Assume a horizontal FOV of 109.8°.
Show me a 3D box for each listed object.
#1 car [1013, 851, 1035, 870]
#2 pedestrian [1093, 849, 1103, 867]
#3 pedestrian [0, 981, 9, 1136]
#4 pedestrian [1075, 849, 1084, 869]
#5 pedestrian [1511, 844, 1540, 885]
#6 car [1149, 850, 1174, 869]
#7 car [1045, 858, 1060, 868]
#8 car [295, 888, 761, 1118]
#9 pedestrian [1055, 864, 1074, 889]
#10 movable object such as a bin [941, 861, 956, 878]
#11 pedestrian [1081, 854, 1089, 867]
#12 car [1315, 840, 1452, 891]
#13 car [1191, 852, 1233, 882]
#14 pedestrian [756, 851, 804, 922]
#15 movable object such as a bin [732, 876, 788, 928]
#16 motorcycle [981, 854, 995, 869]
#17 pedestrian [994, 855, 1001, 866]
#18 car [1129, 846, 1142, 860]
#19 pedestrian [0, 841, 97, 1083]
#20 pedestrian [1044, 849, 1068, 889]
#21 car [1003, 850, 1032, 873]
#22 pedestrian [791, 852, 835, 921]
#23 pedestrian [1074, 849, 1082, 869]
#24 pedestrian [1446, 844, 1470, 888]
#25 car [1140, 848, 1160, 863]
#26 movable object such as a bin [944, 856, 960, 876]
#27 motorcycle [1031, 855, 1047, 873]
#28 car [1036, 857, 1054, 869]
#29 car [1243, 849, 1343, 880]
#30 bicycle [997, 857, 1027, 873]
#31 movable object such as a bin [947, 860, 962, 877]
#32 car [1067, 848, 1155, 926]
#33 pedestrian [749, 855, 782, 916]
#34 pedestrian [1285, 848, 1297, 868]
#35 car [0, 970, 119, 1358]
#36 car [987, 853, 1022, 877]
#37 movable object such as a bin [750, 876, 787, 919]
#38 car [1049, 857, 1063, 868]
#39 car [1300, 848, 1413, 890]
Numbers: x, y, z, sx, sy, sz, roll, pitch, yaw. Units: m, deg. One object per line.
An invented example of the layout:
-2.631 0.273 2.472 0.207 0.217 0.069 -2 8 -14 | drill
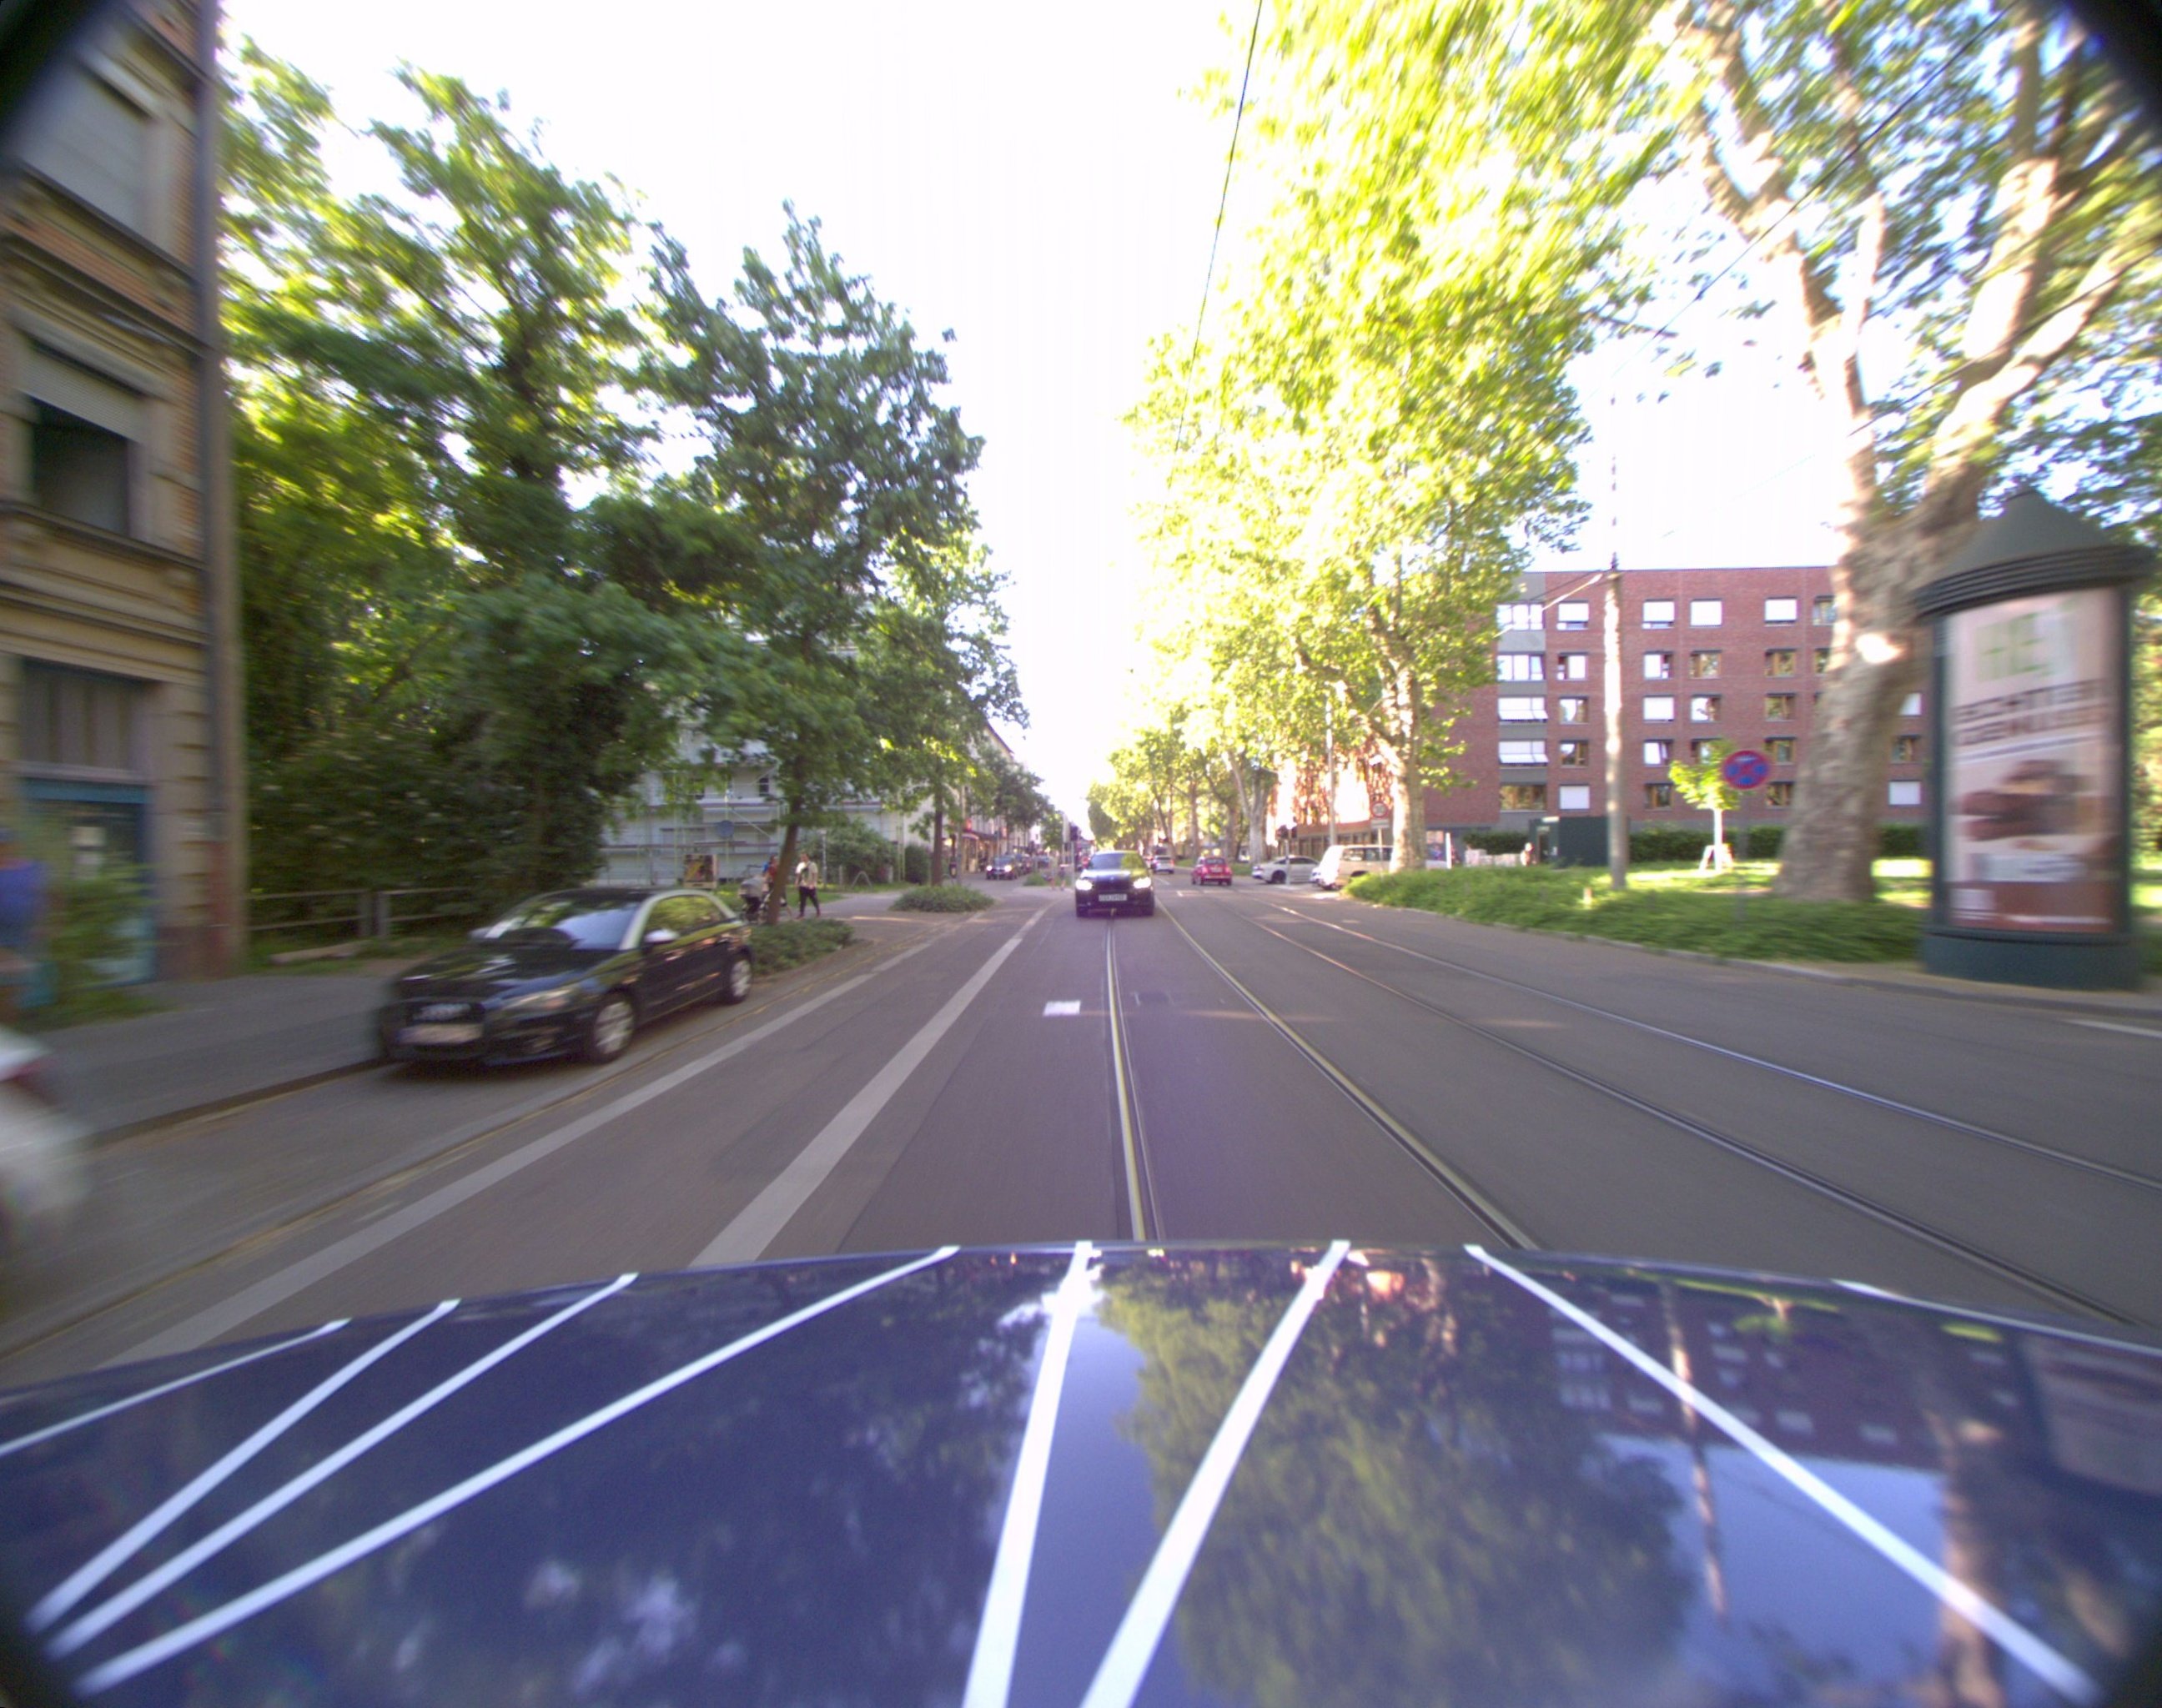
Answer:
-5.332 0.591 71.539 1.693 1.745 4.173 -2 0 0 | car
1.656 0.421 73.163 0.836 1.703 0.640 -2 1 2 | pedestrian
-6.950 0.815 4.436 0.726 1.783 0.601 -1 1 23 | pedestrian
-0.124 0.423 67.558 0.689 1.745 0.580 -2 1 -5 | pedestrian
18.476 0.446 31.571 0.711 1.663 0.779 -2 1 1 | pedestrian
6.825 0.455 64.653 1.820 1.559 4.116 0 1 1 | car
-4.308 1.332 115.857 1.899 1.477 4.000 -2 0 1 | car
-4.737 1.147 7.314 1.677 1.404 3.842 1 1 0 | car
-0.766 1.047 35.435 0.677 1.112 0.658 -2 1 -22 | pedestrian
-8.887 1.018 50.815 0.883 1.104 0.697 1 1 -1 | movable object such as a bin
0.427 0.671 80.038 0.721 1.318 0.493 -2 1 -10 | pedestrian
11.776 0.432 29.803 4.582 1.823 1.938 -2 1 0 | car
6.754 0.637 39.525 1.665 1.435 3.473 -2 0 2 | car
-7.849 0.818 19.835 0.727 1.783 0.969 1 1 12 | pedestrian
-7.914 1.156 18.779 0.640 1.195 1.306 1 1 12 | movable object such as a bin
-8.668 0.755 71.134 0.954 1.309 2.650 4 -1 -1 | motorcycle
-8.781 0.679 80.153 0.680 1.198 0.648 -2 1 -10 | pedestrian
12.150 -0.264 170.043 2.429 2.833 5.072 -2 0 1 | car
-8.277 0.802 5.753 0.600 1.783 0.728 -2 1 -1 | pedestrian
-1.220 0.720 36.492 0.870 1.874 0.996 -2 1 -17 | pedestrian
-5.395 0.646 65.089 1.998 1.885 4.195 0 0 3 | car
-7.057 0.836 20.031 0.727 1.783 0.854 1 1 12 | pedestrian
-0.249 0.422 68.256 0.493 1.760 0.704 -2 1 16 | pedestrian
15.886 0.497 32.024 0.645 1.799 0.752 -2 1 7 | pedestrian
7.145 0.139 78.577 1.779 1.452 4.204 -2 0 2 | car
-9.107 0.815 53.716 1.002 1.389 0.824 1 1 -1 | movable object such as a bin
-3.505 0.815 63.623 1.054 1.446 2.208 -2 1 1 | motorcycle
-4.904 1.168 104.138 1.958 1.474 4.660 -2 0 3 | car
11.275 0.549 40.668 4.776 1.452 1.954 -2 1 0 | car
-5.452 0.858 60.227 2.209 1.203 1.029 1 1 1 | bicycle
-8.556 0.963 51.528 0.883 1.104 0.697 1 1 -1 | movable object such as a bin
0.890 0.751 20.019 1.936 1.718 5.074 -2 0 5 | car
-9.061 0.904 21.855 0.619 1.716 0.554 -2 1 4 | pedestrian
18.251 0.325 66.126 0.765 1.733 0.972 -2 1 1 | pedestrian
-4.926 1.159 1.072 1.888 1.360 4.107 1 1 1 | car
-5.181 0.731 52.138 1.766 1.612 4.442 1 0 3 | car
-8.717 1.202 21.211 0.667 1.120 0.956 -2 1 -6 | movable object such as a bin
-3.982 1.315 121.919 1.998 1.572 4.000 -2 0 1 | car
11.758 0.615 32.641 4.150 1.637 1.902 -2 1 0 | car
